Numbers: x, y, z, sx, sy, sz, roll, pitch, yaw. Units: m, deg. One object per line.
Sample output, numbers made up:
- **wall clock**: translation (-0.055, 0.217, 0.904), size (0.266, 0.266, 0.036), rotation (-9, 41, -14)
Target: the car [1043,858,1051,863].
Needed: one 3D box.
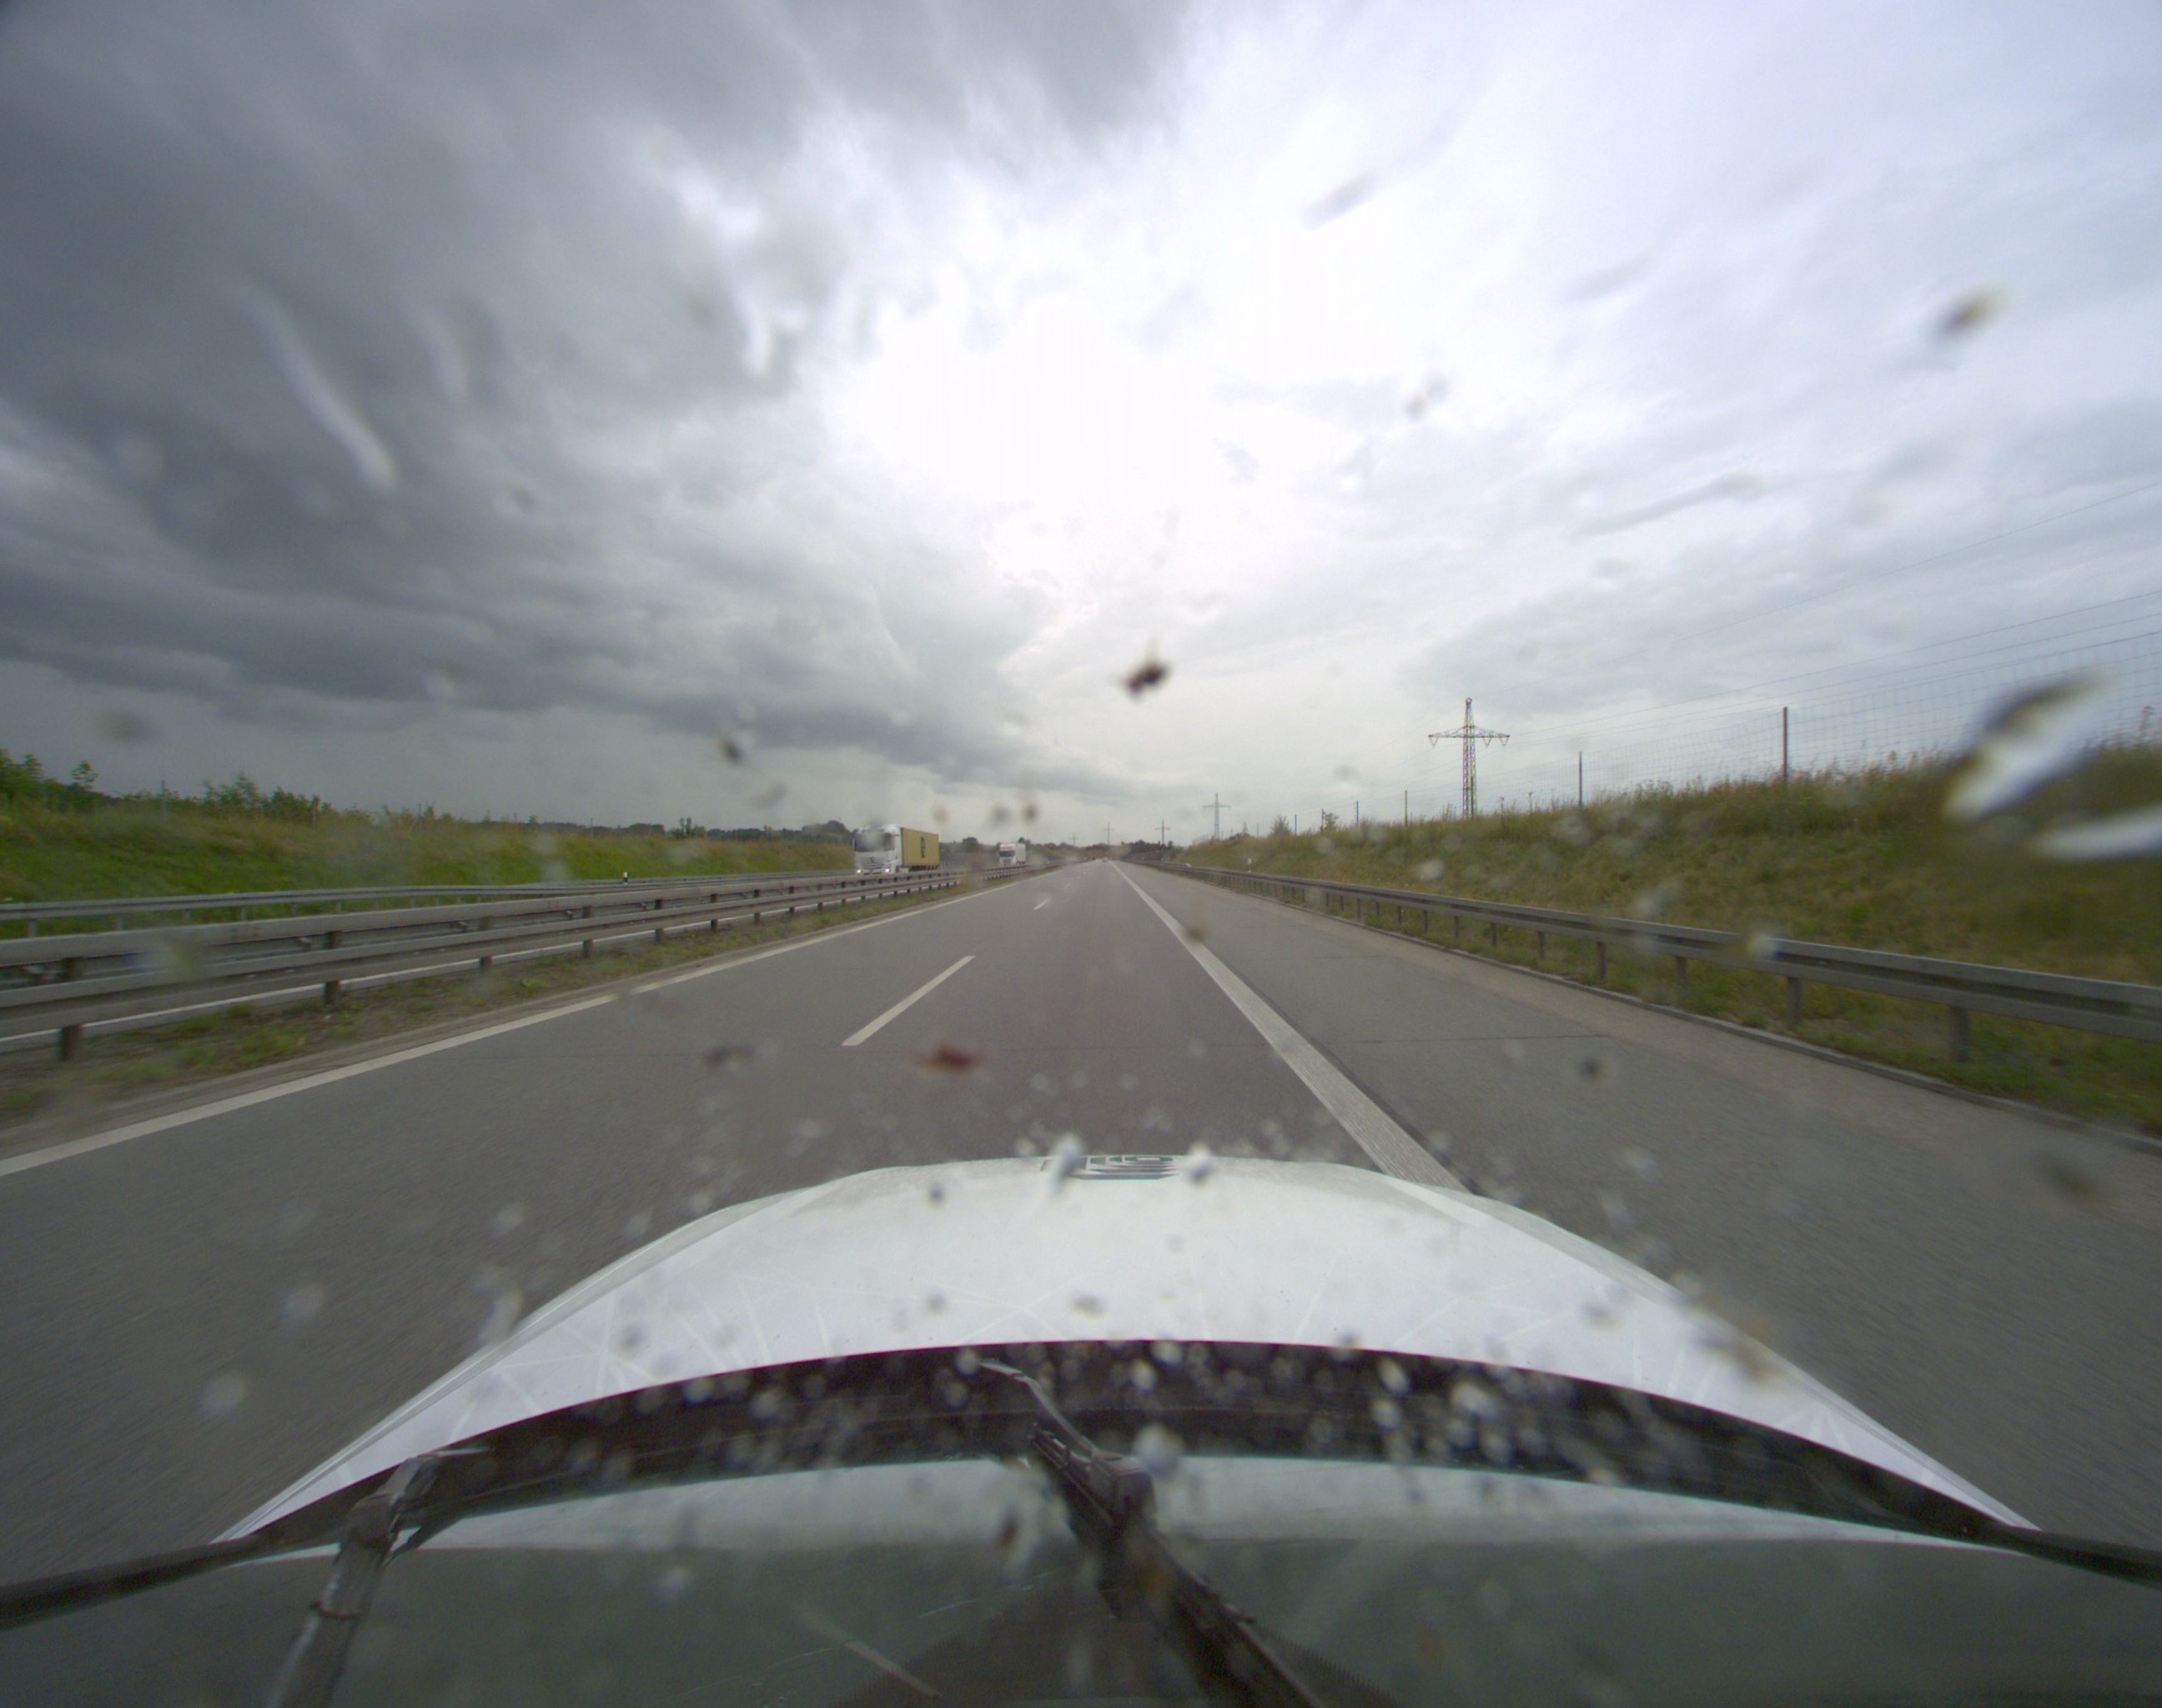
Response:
- **car**: translation (-8.592, 1.647, 204.724), size (1.625, 1.409, 4.001), rotation (-1, 0, 2)

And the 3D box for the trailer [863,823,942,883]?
- **trailer**: translation (-13.148, -0.046, 61.411), size (2.580, 3.925, 13.704), rotation (-1, 0, 1)

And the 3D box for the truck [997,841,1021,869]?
- **truck**: translation (-10.845, 0.159, 123.014), size (2.941, 3.925, 5.520), rotation (-1, 0, 2)

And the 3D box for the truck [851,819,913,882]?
- **truck**: translation (-13.271, -0.206, 54.705), size (2.584, 3.925, 5.588), rotation (-1, 0, 1)
